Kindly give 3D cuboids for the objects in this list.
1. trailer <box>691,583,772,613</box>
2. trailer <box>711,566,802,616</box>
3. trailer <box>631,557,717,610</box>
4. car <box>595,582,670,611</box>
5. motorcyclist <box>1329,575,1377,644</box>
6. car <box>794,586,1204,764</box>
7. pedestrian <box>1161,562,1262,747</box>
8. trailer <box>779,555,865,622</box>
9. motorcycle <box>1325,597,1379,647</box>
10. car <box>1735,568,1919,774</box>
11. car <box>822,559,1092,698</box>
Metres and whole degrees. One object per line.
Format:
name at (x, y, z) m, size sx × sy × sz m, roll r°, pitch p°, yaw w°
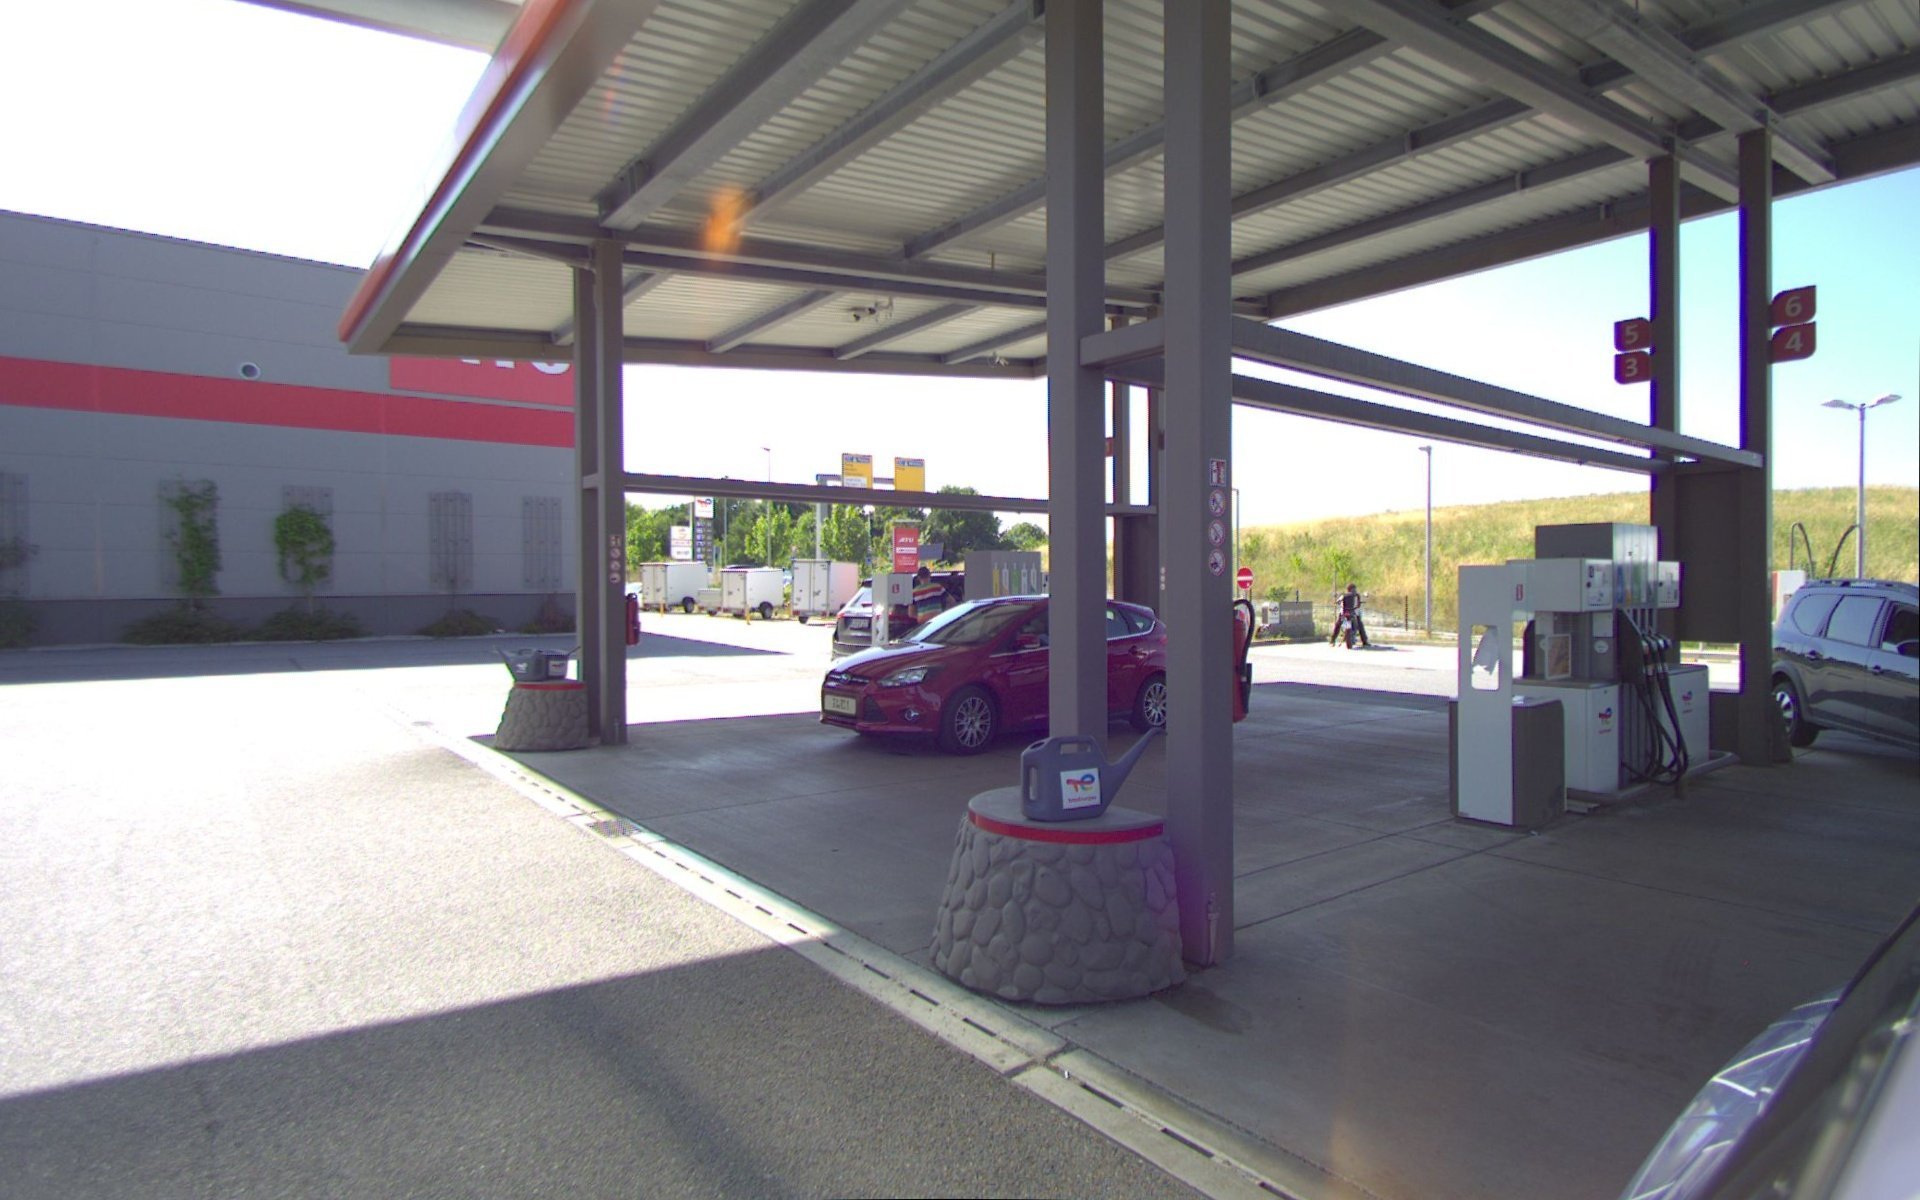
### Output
trailer at (-10.215, -0.116, 45.483) m, size 1.563 × 1.297 × 3.684 m, roll 0°, pitch 1°, yaw 27°
trailer at (-8.687, -0.396, 43.551) m, size 1.785 × 2.039 × 3.963 m, roll 0°, pitch 1°, yaw 27°
trailer at (-13.941, -0.822, 49.577) m, size 1.979 × 2.457 × 3.967 m, roll 1°, pitch 1°, yaw 24°
car at (-16.217, -0.202, 50.332) m, size 1.659 × 1.334 × 3.813 m, roll 1°, pitch 1°, yaw 18°
motorcyclist at (9.960, 0.226, 25.648) m, size 1.025 × 1.709 × 1.088 m, roll 1°, pitch 1°, yaw 27°
car at (0.529, 0.608, 10.465) m, size 4.156 × 1.487 × 1.703 m, roll 0°, pitch 1°, yaw -39°
pedestrian at (2.501, 0.498, 10.026) m, size 0.698 × 1.724 × 0.916 m, roll 0°, pitch 0°, yaw 34°
trailer at (-5.267, -0.466, 39.157) m, size 1.971 × 2.457 × 3.983 m, roll 1°, pitch 1°, yaw 14°
motorcycle at (9.997, 0.524, 25.752) m, size 1.036 × 1.119 × 2.394 m, roll 1°, pitch 2°, yaw 27°
car at (8.768, 0.572, 8.650) m, size 1.719 × 1.665 × 4.611 m, roll 0°, pitch 1°, yaw 15°
car at (0.139, 0.368, 16.182) m, size 2.020 × 1.874 × 4.739 m, roll 1°, pitch 0°, yaw 34°
